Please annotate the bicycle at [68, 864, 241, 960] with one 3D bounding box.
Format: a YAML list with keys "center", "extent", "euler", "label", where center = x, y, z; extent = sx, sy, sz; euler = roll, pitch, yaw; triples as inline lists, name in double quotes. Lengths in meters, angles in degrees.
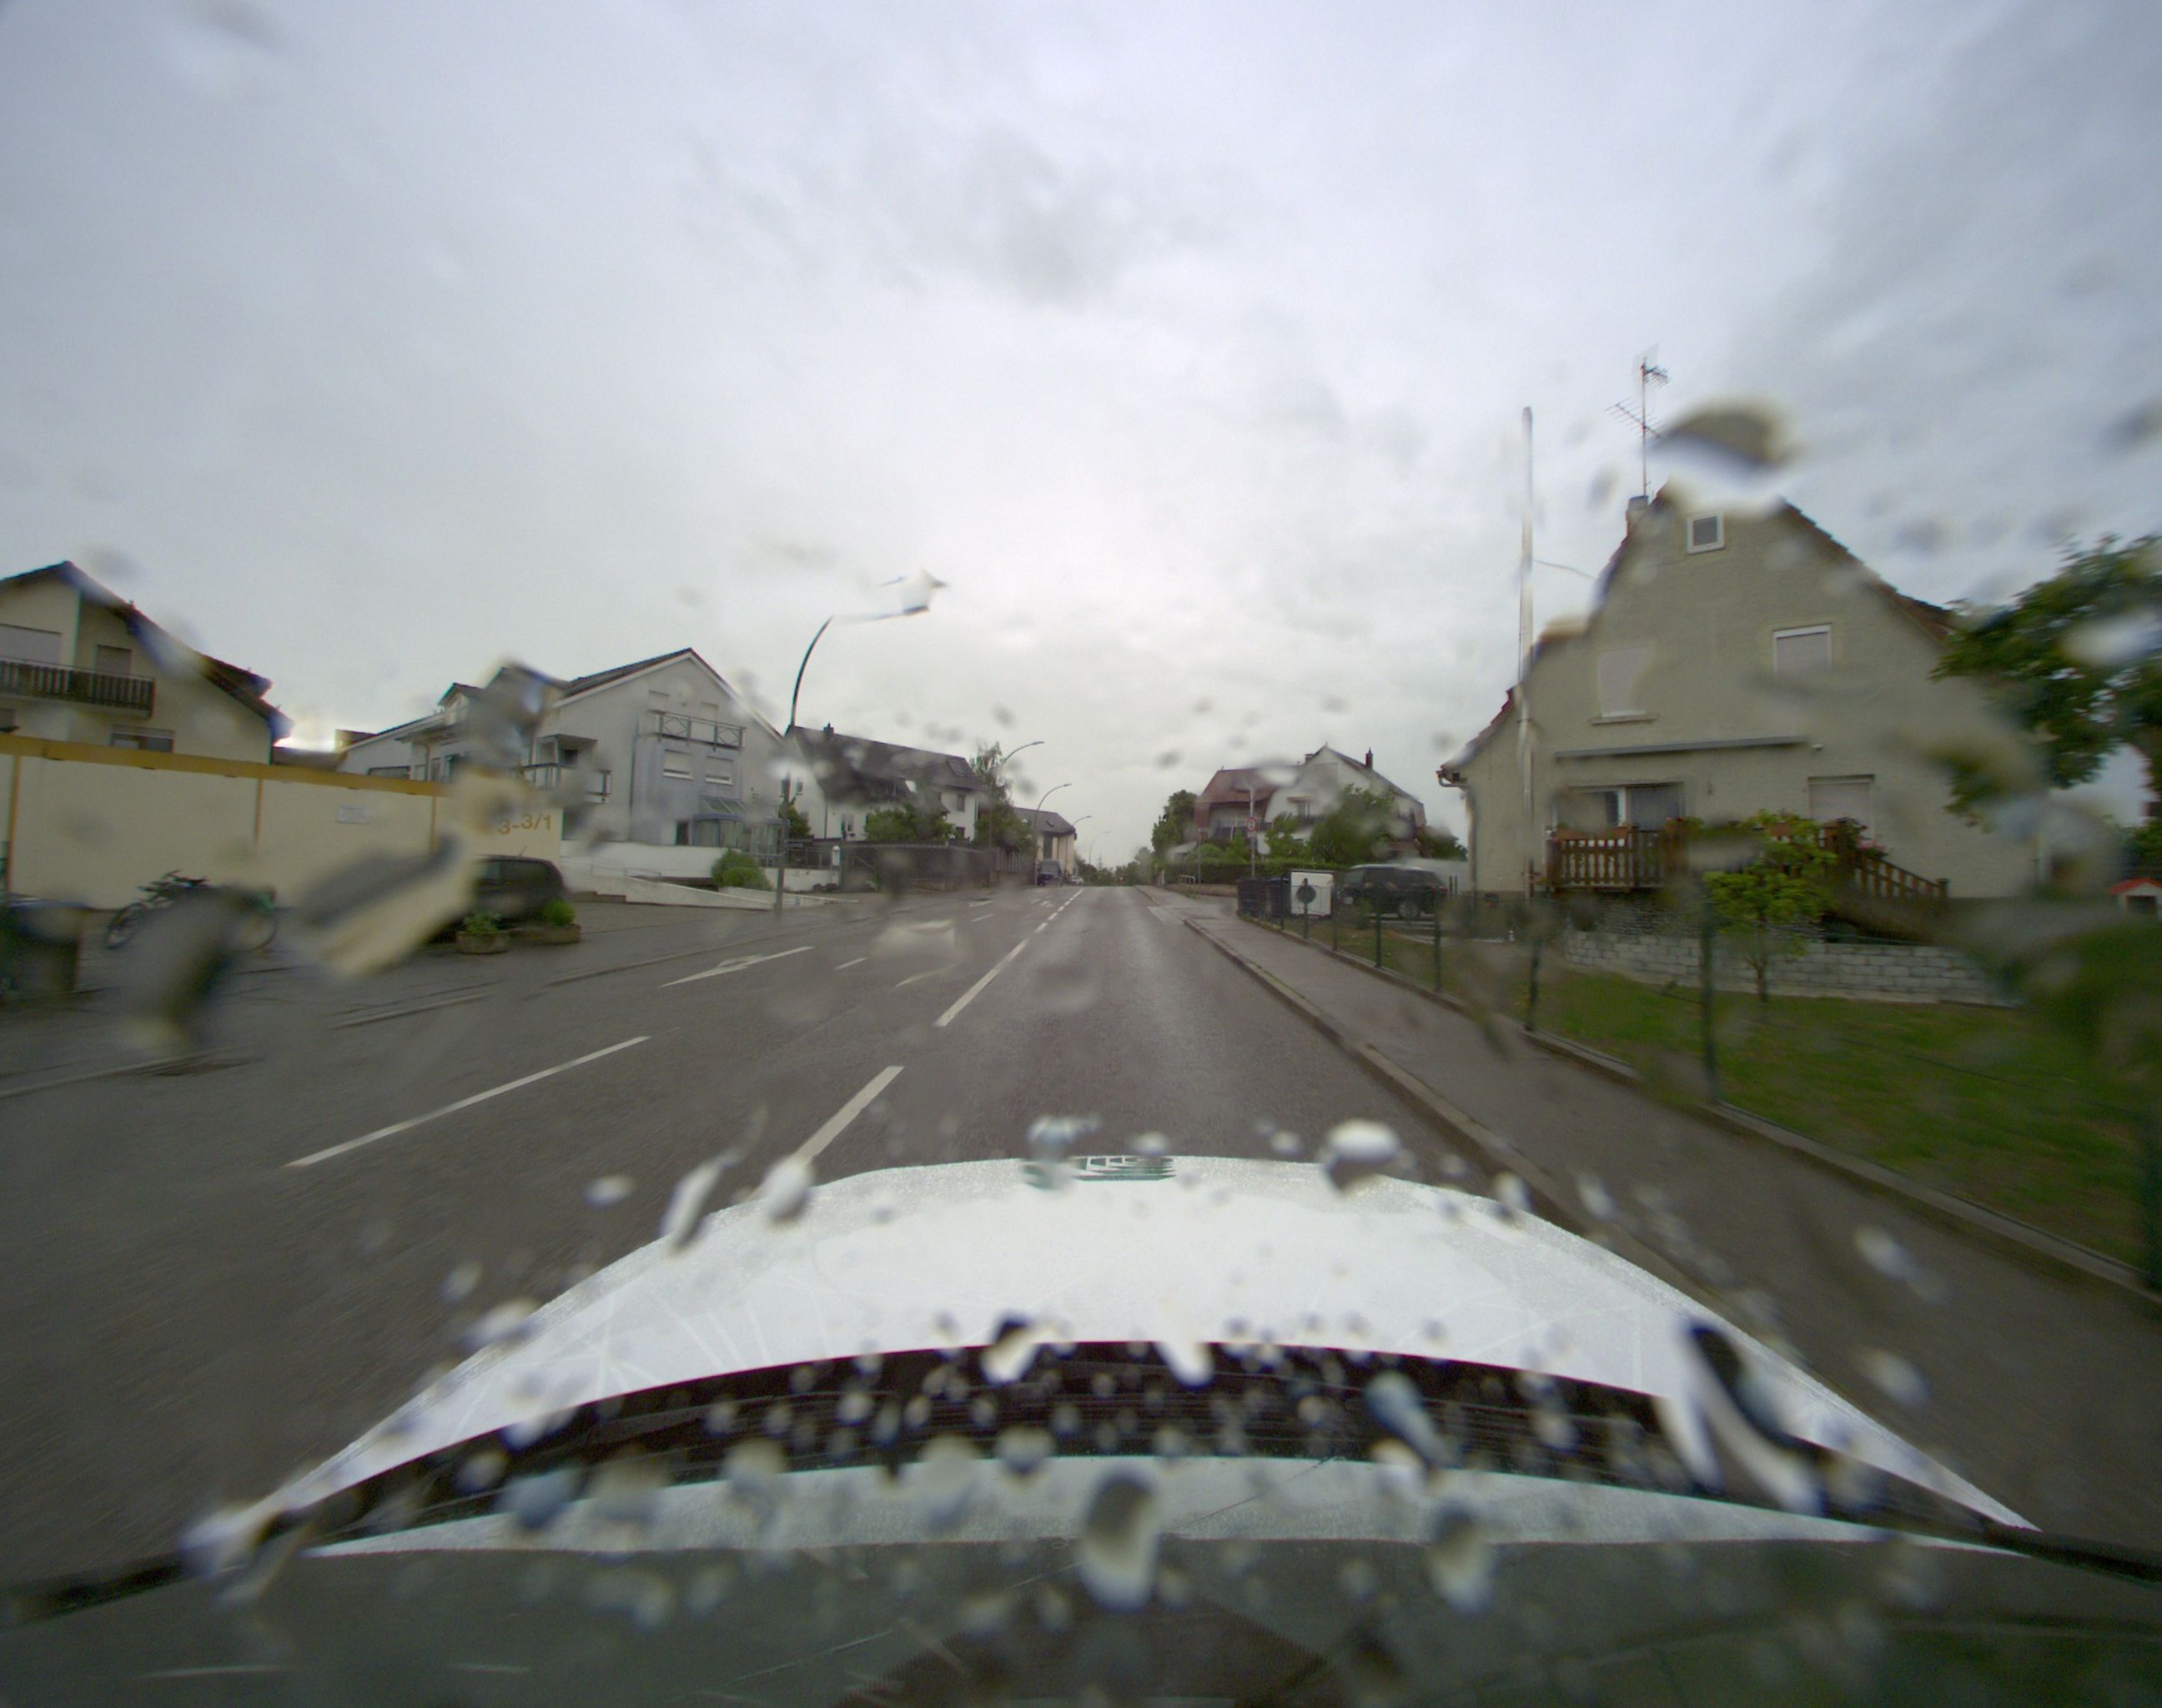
- center: [-12.774, 0.771, 11.233]
  extent: [2.081, 1.114, 0.740]
  euler: [3, -2, 18]
  label: "bicycle"

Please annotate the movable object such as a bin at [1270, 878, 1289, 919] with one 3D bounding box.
- center: [5.054, 1.120, 20.694]
  extent: [0.439, 1.021, 0.527]
  euler: [-1, -1, 16]
  label: "movable object such as a bin"

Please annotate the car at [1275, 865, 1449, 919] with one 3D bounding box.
- center: [8.055, 1.082, 23.508]
  extent: [4.519, 1.384, 2.010]
  euler: [-1, 0, 19]
  label: "car"

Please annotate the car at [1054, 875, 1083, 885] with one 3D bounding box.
- center: [-1.915, 4.168, 130.664]
  extent: [1.883, 1.477, 4.911]
  euler: [0, -2, 39]
  label: "car"

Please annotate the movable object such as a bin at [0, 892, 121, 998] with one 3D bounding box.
- center: [-10.779, 0.934, 8.561]
  extent: [0.633, 1.032, 0.676]
  euler: [-1, -1, 16]
  label: "movable object such as a bin"

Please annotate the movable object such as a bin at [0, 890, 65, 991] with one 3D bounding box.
- center: [-11.506, 0.911, 8.700]
  extent: [0.633, 1.032, 0.607]
  euler: [-1, -1, 16]
  label: "movable object such as a bin"

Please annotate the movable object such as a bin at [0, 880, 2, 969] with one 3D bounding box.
- center: [-12.929, 0.827, 9.251]
  extent: [0.633, 1.032, 0.607]
  euler: [-1, -1, 16]
  label: "movable object such as a bin"

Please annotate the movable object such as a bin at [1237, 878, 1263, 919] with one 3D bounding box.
- center: [4.370, 1.134, 21.046]
  extent: [0.525, 1.021, 0.737]
  euler: [-1, -1, 21]
  label: "movable object such as a bin"

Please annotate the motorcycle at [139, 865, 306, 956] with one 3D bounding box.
- center: [-12.556, 0.796, 11.916]
  extent: [2.093, 1.114, 0.784]
  euler: [4, -1, 18]
  label: "motorcycle"

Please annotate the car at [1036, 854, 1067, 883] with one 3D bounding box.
- center: [-2.800, 1.455, 78.625]
  extent: [2.084, 2.649, 5.925]
  euler: [2, -2, 5]
  label: "car"

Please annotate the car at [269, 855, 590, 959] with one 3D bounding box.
- center: [-10.939, 0.789, 14.037]
  extent: [1.885, 1.442, 3.847]
  euler: [2, 0, 20]
  label: "car"

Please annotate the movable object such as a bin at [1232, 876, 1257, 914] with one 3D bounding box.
- center: [4.517, 1.137, 22.480]
  extent: [0.624, 1.021, 0.541]
  euler: [-1, -1, 7]
  label: "movable object such as a bin"

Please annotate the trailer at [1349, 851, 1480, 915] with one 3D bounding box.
- center: [10.440, 0.879, 25.582]
  extent: [3.419, 1.798, 1.698]
  euler: [2, -1, 39]
  label: "trailer"

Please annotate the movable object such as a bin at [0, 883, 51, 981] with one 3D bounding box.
- center: [-12.238, 0.874, 9.132]
  extent: [0.633, 1.032, 0.607]
  euler: [4, 0, 16]
  label: "movable object such as a bin"

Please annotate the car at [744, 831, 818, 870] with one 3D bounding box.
- center: [-17.332, -0.229, 47.008]
  extent: [3.950, 1.781, 2.012]
  euler: [7, 1, 36]
  label: "car"
